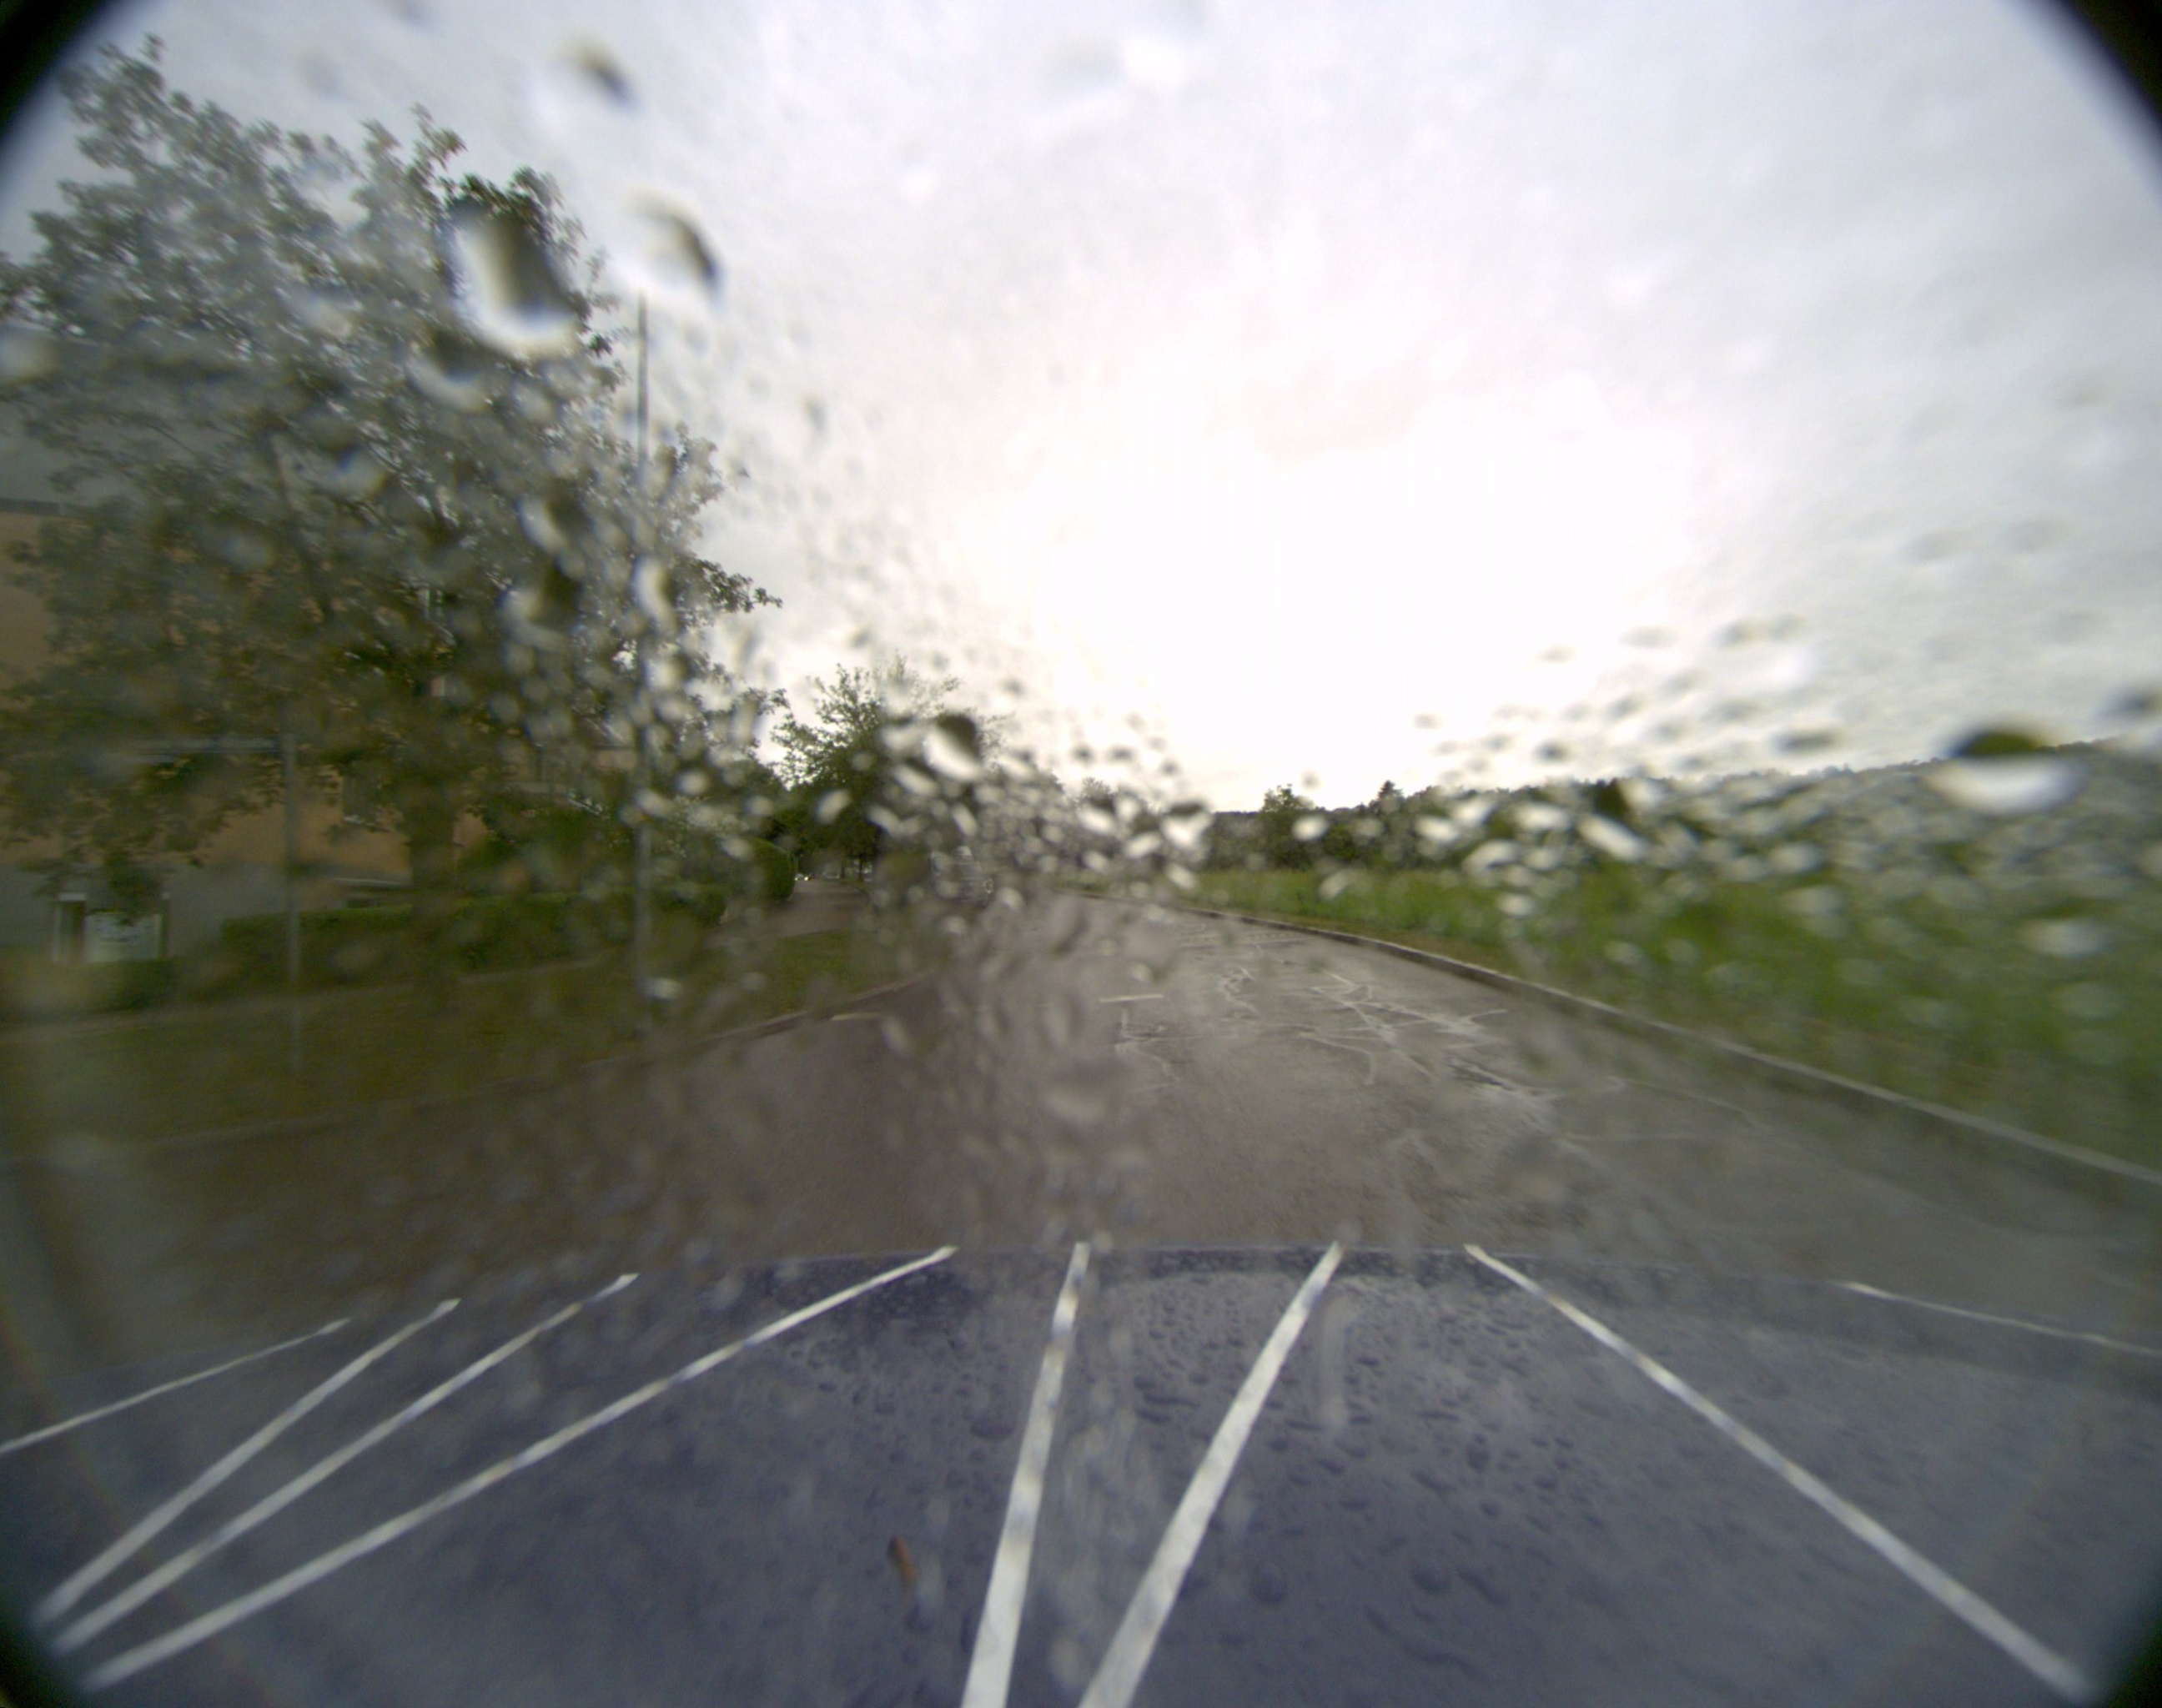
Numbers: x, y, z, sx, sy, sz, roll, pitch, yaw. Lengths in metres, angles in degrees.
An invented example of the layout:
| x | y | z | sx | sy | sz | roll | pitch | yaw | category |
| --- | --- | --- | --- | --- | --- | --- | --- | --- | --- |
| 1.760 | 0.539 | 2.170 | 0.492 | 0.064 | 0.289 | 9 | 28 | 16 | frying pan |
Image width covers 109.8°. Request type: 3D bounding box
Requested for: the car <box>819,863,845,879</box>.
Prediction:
| x | y | z | sx | sy | sz | roll | pitch | yaw | category |
| --- | --- | --- | --- | --- | --- | --- | --- | --- | --- |
| -31.623 | 2.158 | 96.434 | 1.980 | 1.838 | 3.990 | -2 | 1 | -34 | car |

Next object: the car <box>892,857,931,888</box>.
| x | y | z | sx | sy | sz | roll | pitch | yaw | category |
| --- | --- | --- | --- | --- | --- | --- | --- | --- | --- |
| -11.062 | 1.161 | 49.527 | 1.827 | 1.775 | 3.811 | -2 | 2 | -22 | car |

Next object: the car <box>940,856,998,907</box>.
| x | y | z | sx | sy | sz | roll | pitch | yaw | category |
| --- | --- | --- | --- | --- | --- | --- | --- | --- | --- |
| -4.420 | 0.972 | 29.411 | 1.818 | 1.717 | 4.646 | -2 | 1 | -13 | car |

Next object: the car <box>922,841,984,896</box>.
| x | y | z | sx | sy | sz | roll | pitch | yaw | category |
| --- | --- | --- | --- | --- | --- | --- | --- | --- | --- |
| -6.023 | 0.631 | 35.209 | 2.056 | 2.317 | 5.399 | -2 | 0 | -18 | car |

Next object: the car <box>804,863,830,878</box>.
| x | y | z | sx | sy | sz | roll | pitch | yaw | category |
| --- | --- | --- | --- | --- | --- | --- | --- | --- | --- |
| -35.240 | 2.181 | 101.426 | 1.980 | 1.838 | 3.989 | -2 | 1 | -38 | car |
